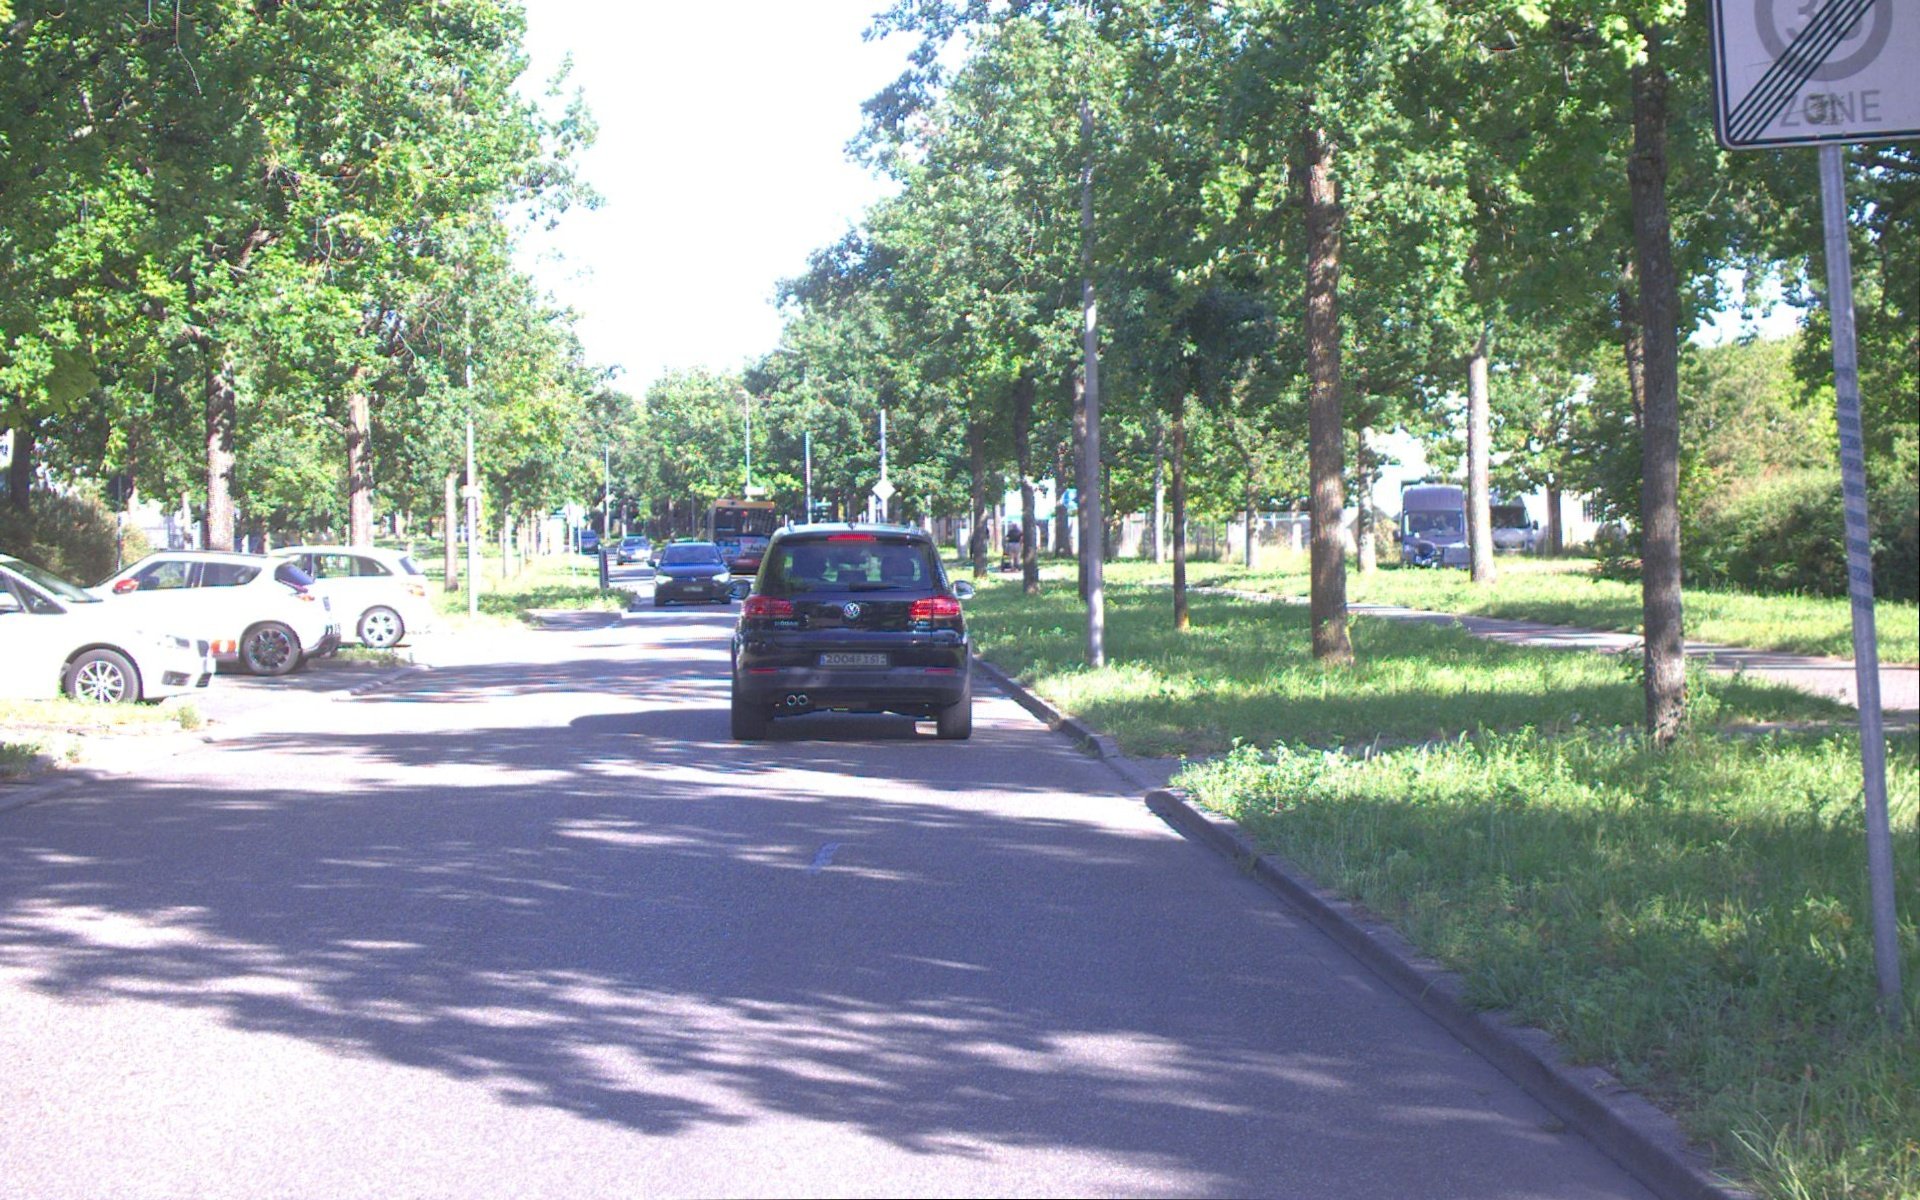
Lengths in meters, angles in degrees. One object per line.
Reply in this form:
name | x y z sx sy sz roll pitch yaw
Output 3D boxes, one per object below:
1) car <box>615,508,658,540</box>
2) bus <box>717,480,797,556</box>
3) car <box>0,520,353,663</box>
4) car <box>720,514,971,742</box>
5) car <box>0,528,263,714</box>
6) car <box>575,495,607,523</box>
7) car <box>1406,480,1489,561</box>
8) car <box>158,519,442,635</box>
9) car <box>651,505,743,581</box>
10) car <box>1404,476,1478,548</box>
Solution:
car | -16.312 -3.848 173.519 1.825 1.546 3.689 -1 2 -1
bus | -8.320 -3.356 141.540 2.928 2.993 5.737 -1 1 -1
car | -9.693 -0.124 42.568 4.016 1.642 1.811 -1 1 -1
car | -0.938 0.158 27.323 1.838 1.631 3.959 0 2 -3
car | -8.725 0.188 32.156 4.016 1.642 1.811 -1 1 -1
car | -23.963 -5.916 223.152 1.816 1.769 3.778 -1 2 -3
car | 12.704 -2.077 89.628 2.054 2.007 3.999 -1 1 8
car | -10.154 -0.371 53.115 4.016 1.642 1.811 -1 2 -1
car | -6.081 -1.332 79.886 1.852 1.687 3.956 -1 1 -1
car | 13.928 -2.547 99.706 1.994 2.007 3.999 -1 1 7
